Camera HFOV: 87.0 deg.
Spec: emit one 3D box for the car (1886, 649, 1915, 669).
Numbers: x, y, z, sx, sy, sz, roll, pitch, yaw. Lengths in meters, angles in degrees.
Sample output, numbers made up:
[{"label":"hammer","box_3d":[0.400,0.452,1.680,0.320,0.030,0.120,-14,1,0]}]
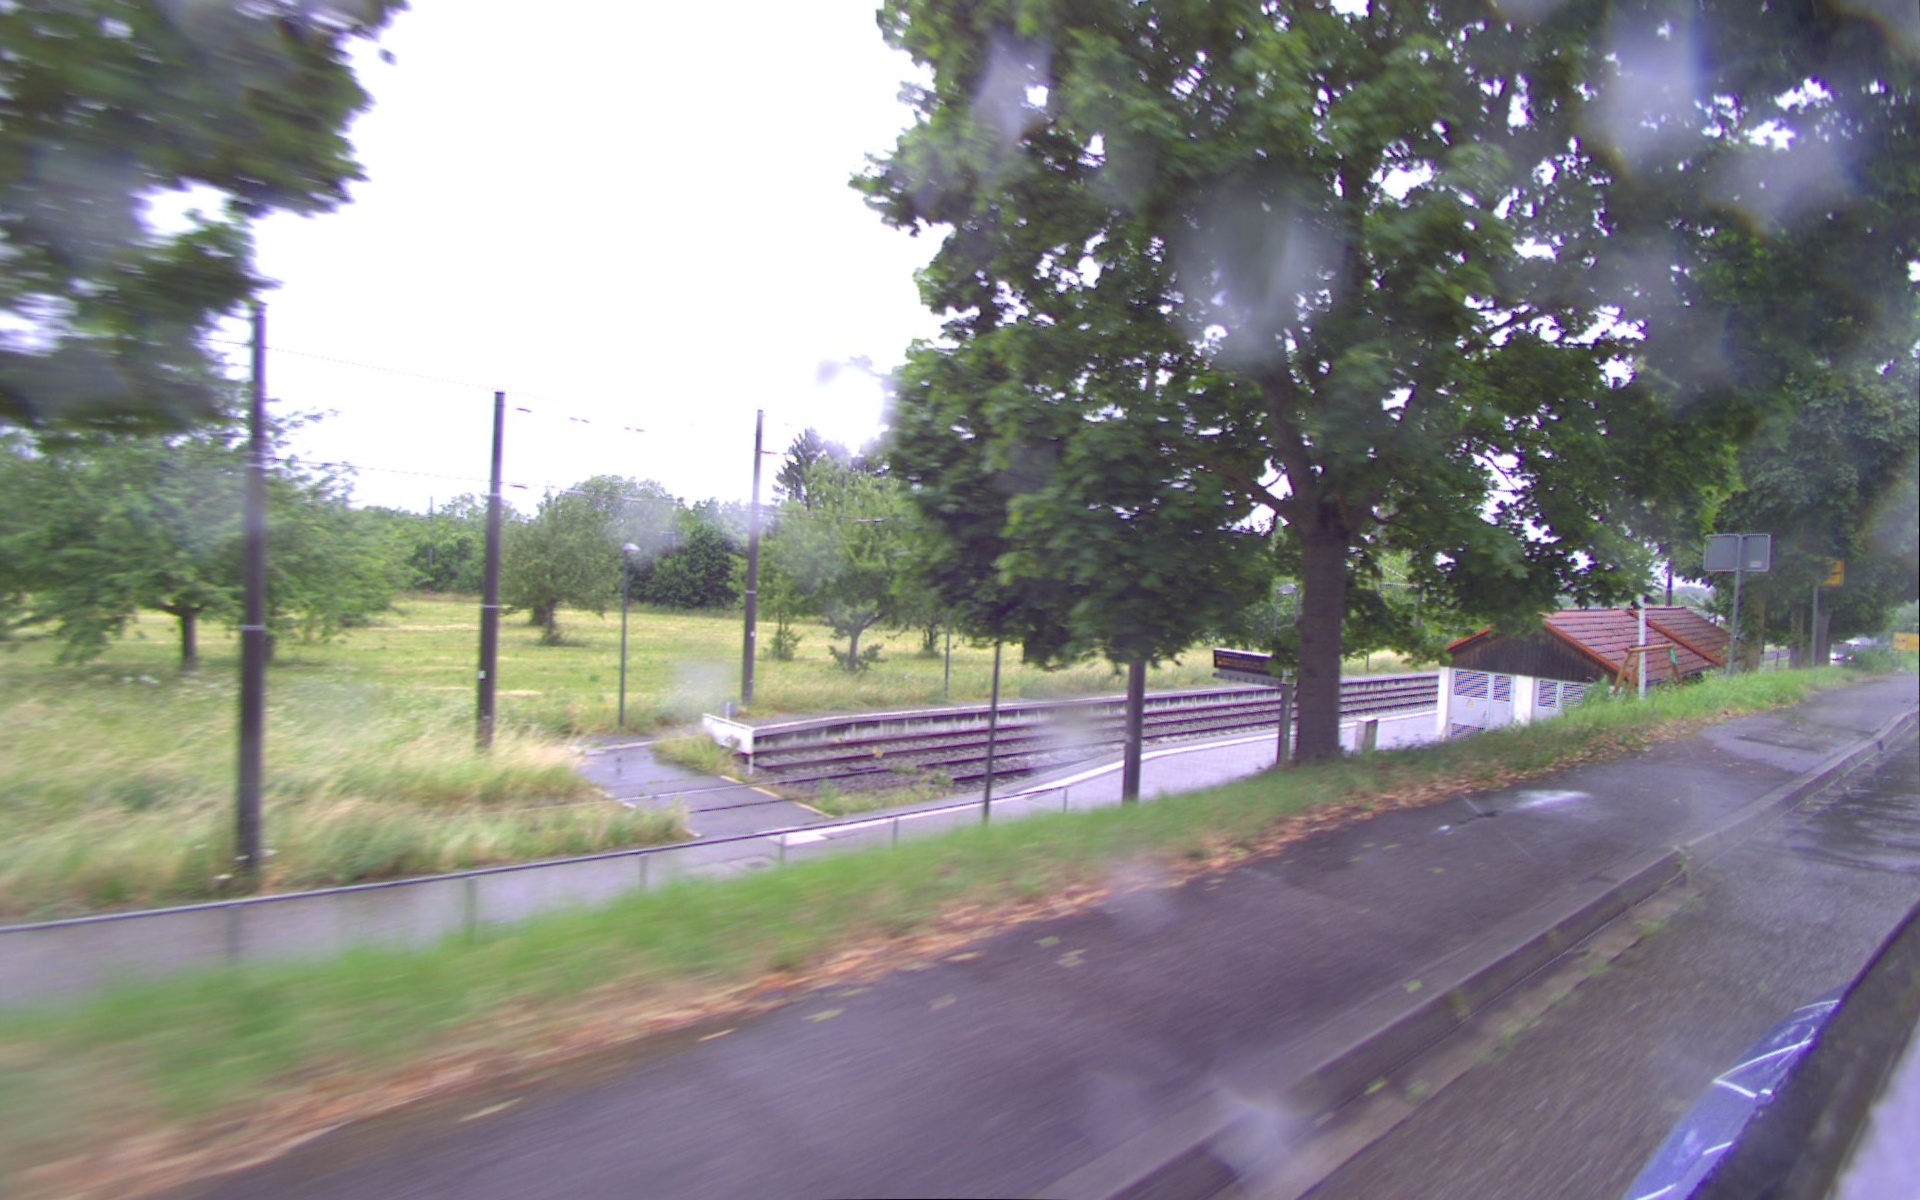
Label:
[{"label":"car","box_3d":[110.451,6.897,118.931,1.989,2.038,3.946,4,1,37]}]
